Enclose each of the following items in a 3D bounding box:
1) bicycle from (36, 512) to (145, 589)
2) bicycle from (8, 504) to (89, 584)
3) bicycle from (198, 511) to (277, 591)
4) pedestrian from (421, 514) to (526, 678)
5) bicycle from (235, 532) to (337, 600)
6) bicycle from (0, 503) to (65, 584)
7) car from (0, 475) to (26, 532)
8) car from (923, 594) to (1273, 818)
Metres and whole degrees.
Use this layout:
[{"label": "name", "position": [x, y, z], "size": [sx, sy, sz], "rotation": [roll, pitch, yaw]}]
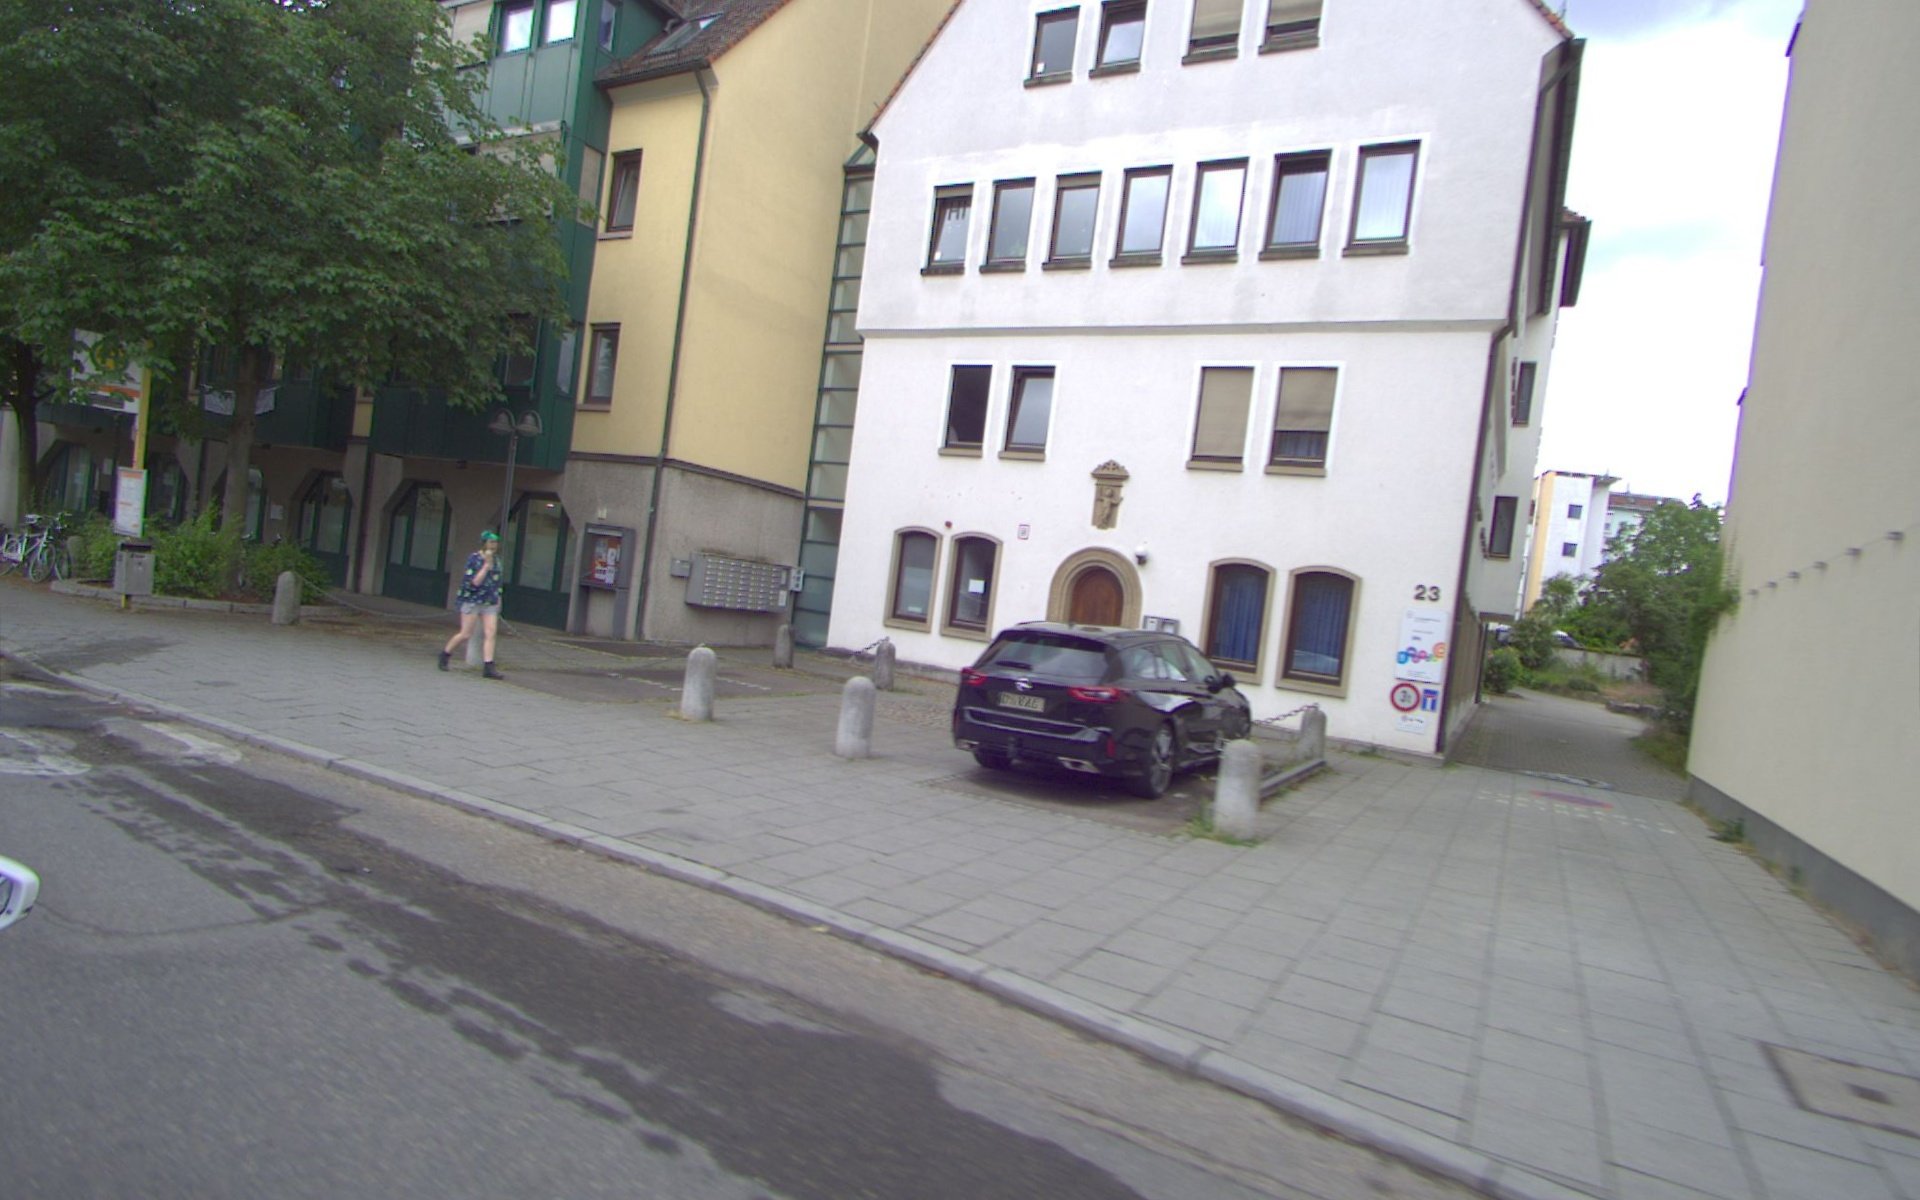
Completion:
[{"label": "bicycle", "position": [-15.065, -0.862, 17.409], "size": [2.251, 1.083, 0.545], "rotation": [7, 1, 26]}, {"label": "bicycle", "position": [-15.108, -0.939, 16.664], "size": [1.925, 1.155, 0.333], "rotation": [7, 0, 30]}, {"label": "bicycle", "position": [-13.637, -0.941, 18.958], "size": [1.925, 1.316, 0.333], "rotation": [7, 0, 30]}, {"label": "pedestrian", "position": [-5.513, -0.043, 11.400], "size": [0.847, 1.737, 0.602], "rotation": [8, 1, 38]}, {"label": "bicycle", "position": [-13.214, -0.680, 19.713], "size": [2.251, 1.083, 0.545], "rotation": [7, 1, 26]}, {"label": "bicycle", "position": [-15.189, -0.943, 16.318], "size": [1.925, 1.154, 0.333], "rotation": [7, 0, 30]}, {"label": "car", "position": [-34.370, -3.539, 33.540], "size": [1.814, 1.820, 4.254], "rotation": [9, 1, 22]}, {"label": "car", "position": [1.665, 0.960, 10.285], "size": [1.821, 1.593, 4.516], "rotation": [6, 0, 30]}]
